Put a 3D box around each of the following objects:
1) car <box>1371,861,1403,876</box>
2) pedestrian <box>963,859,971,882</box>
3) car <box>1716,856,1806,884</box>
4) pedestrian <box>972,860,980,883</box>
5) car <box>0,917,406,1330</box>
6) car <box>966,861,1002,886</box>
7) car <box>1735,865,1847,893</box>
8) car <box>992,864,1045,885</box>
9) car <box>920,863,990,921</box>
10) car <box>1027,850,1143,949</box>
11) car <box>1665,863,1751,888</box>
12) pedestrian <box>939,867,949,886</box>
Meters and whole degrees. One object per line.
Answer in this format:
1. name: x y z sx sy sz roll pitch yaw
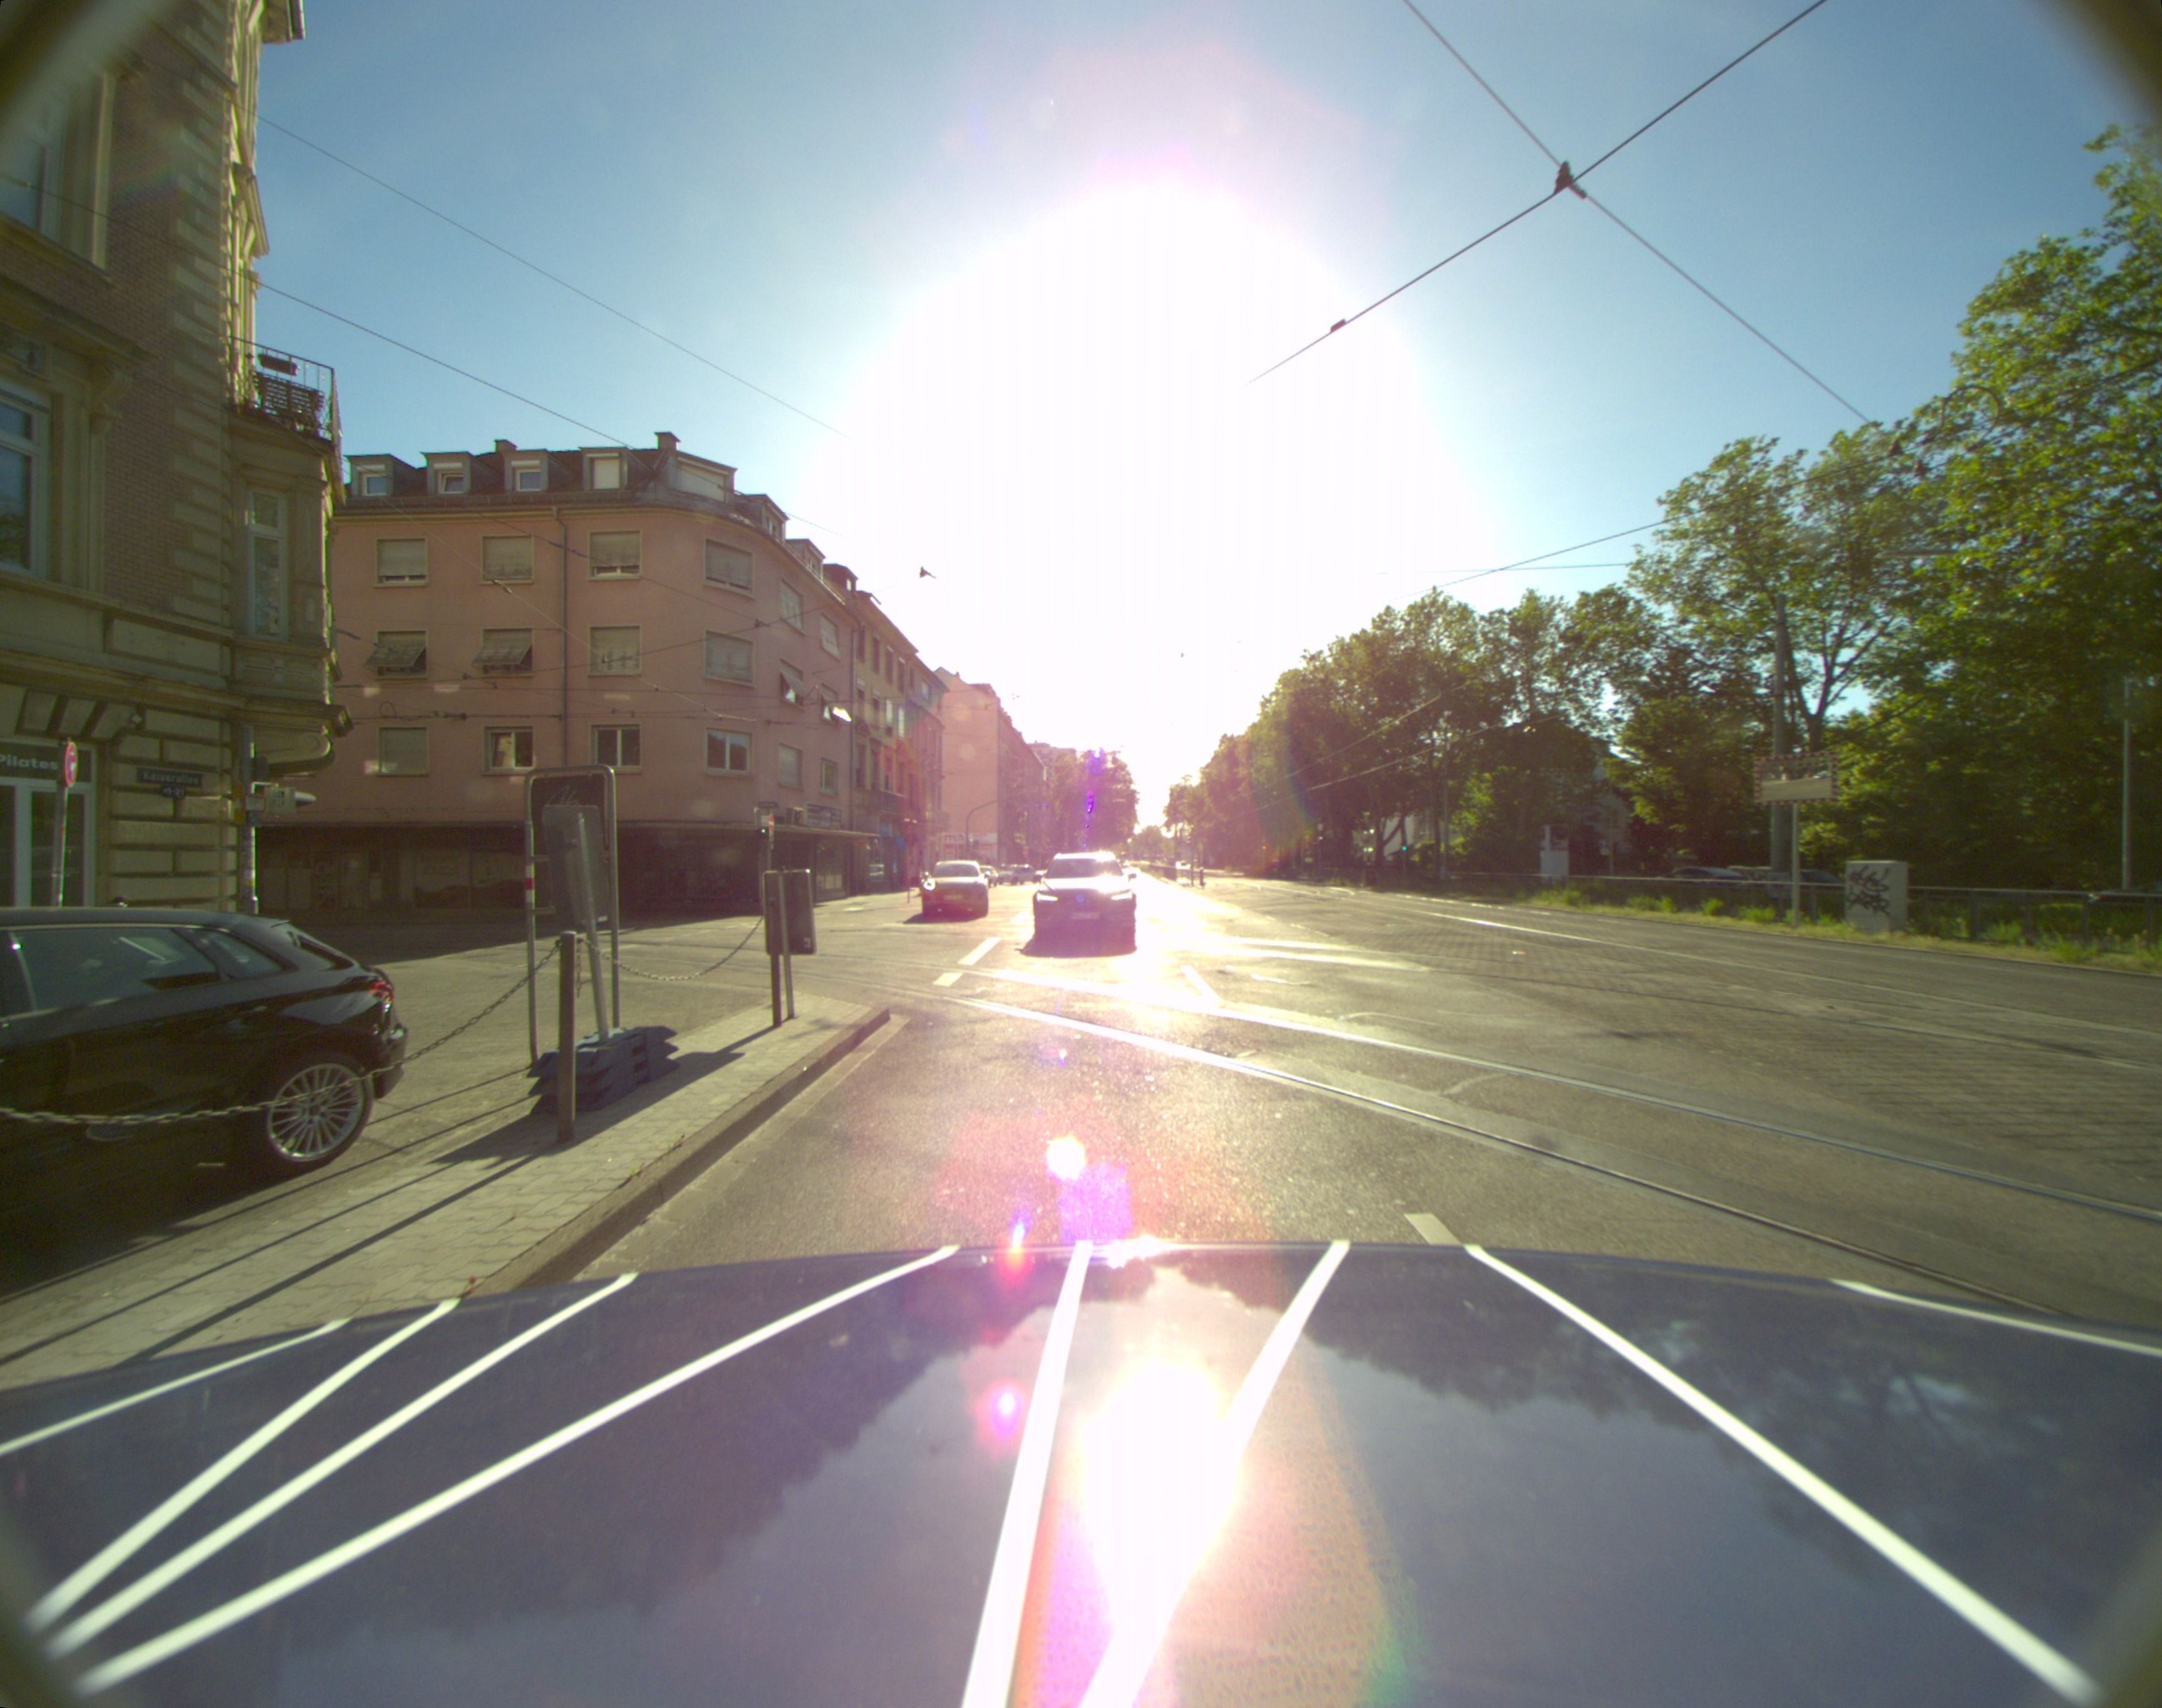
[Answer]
1. car: 31.378 1.467 78.034 1.722 1.462 3.757 -2 -1 0
2. pedestrian: -9.029 1.290 60.173 0.495 1.751 0.660 -1 0 2
3. car: 37.874 0.871 42.467 1.745 1.462 3.742 -2 -1 2
4. pedestrian: -8.326 1.378 60.132 0.495 1.751 0.660 -1 0 2
5. car: -4.896 1.086 2.380 1.700 1.413 4.170 -2 -1 2
6. car: -6.469 1.275 50.899 1.739 1.510 4.001 1 0 2
7. car: 29.103 1.003 31.272 1.483 1.023 3.406 -2 -1 3
8. car: -4.866 1.573 59.633 1.812 1.442 4.008 -3 -1 40
9. car: -3.571 1.028 22.095 1.660 1.473 3.970 -2 -1 -5
10. car: 0.139 0.821 15.280 1.968 1.663 4.001 -2 -1 2
11. car: 29.210 0.969 35.512 1.503 1.043 3.129 -2 -1 3
12. pedestrian: -9.177 1.516 50.909 0.495 1.252 0.660 -1 0 5
